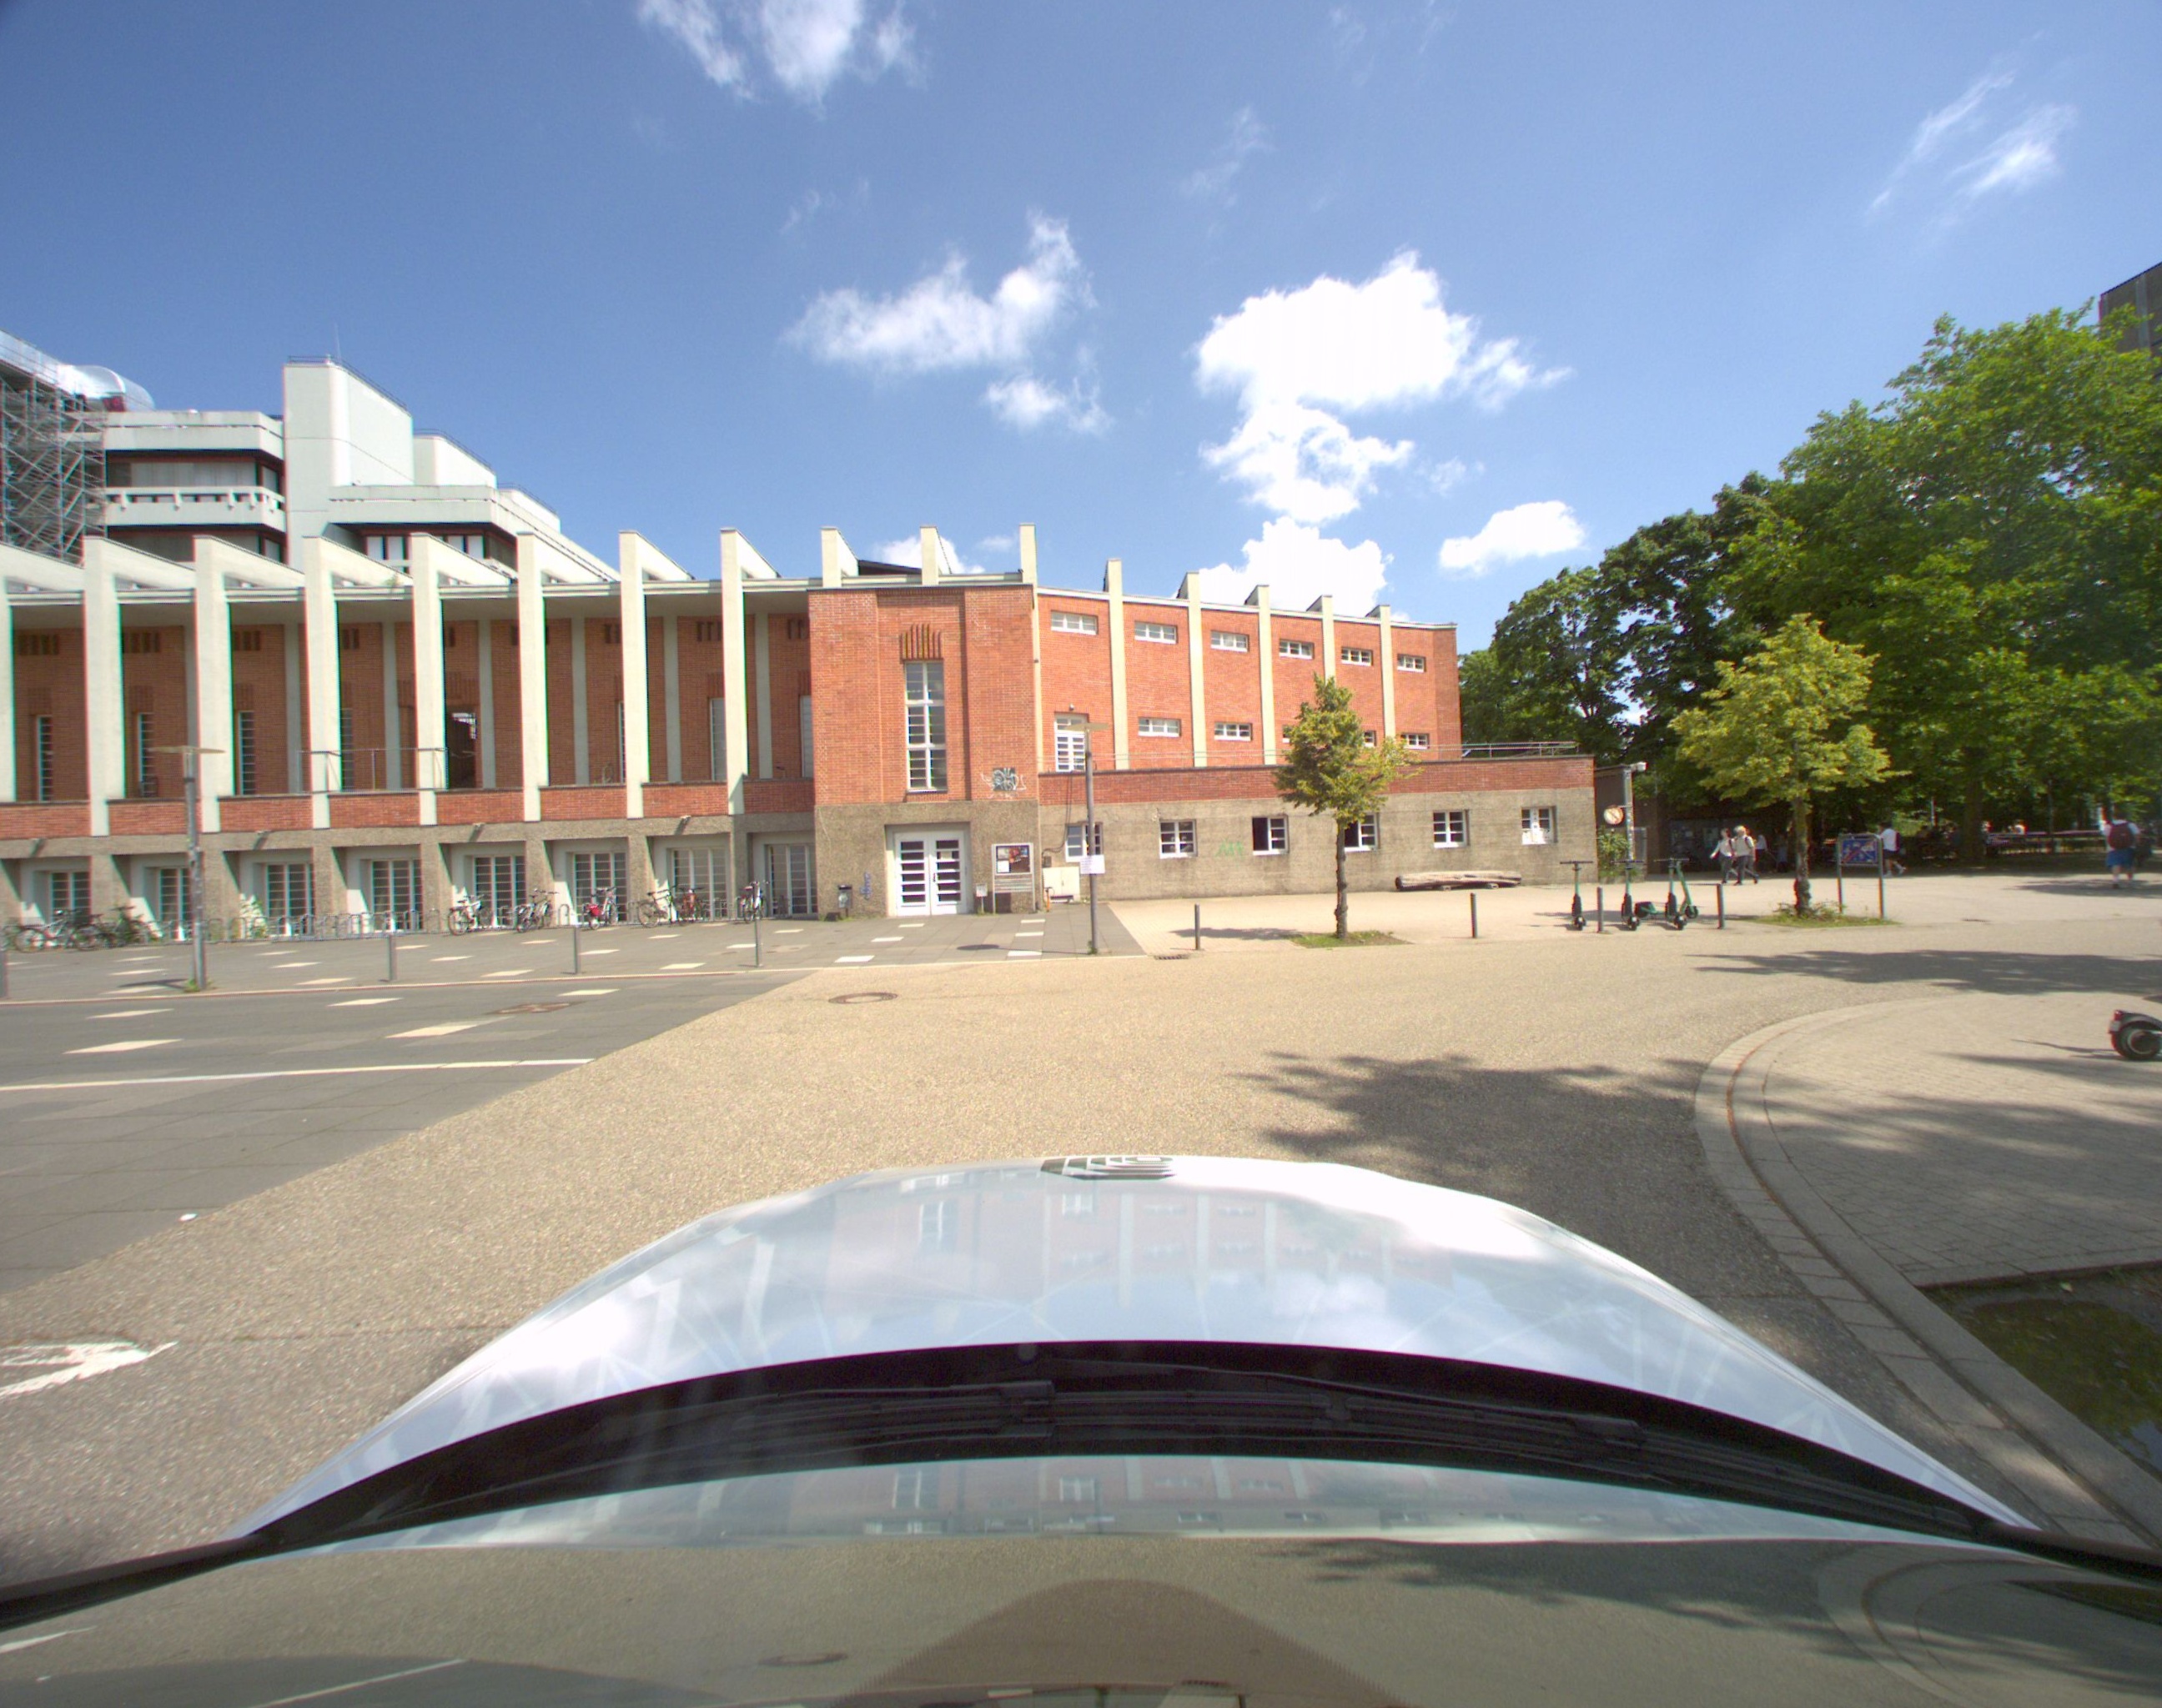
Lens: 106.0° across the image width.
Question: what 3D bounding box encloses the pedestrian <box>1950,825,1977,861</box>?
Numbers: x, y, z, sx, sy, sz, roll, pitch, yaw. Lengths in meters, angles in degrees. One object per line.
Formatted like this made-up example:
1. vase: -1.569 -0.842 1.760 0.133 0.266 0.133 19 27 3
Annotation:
1. pedestrian: 34.114 -0.425 31.471 0.746 1.369 0.588 -4 1 -36

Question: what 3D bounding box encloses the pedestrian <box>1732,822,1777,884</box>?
1. pedestrian: 19.588 -0.035 23.683 0.801 1.762 0.564 -2 0 -3

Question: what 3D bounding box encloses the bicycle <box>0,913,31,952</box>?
1. bicycle: -29.644 2.167 21.821 0.516 1.030 1.955 -2 0 -3

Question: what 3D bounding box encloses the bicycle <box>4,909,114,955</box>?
1. bicycle: -27.205 2.055 21.733 0.527 1.030 1.955 -2 0 -3

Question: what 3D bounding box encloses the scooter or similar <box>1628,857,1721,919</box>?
1. scooter or similar: 11.605 0.656 15.944 1.337 1.149 0.566 -2 0 9

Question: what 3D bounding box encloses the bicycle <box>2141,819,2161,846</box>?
1. bicycle: 46.907 -0.949 34.714 0.583 1.119 2.007 -2 -1 -11

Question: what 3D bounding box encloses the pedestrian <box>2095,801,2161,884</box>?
1. pedestrian: 24.222 -0.258 18.825 0.881 1.835 0.845 -4 1 -33

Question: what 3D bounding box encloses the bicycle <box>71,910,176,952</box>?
1. bicycle: -25.758 2.053 21.954 0.566 0.940 1.955 -2 0 -3

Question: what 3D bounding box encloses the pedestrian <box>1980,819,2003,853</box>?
1. pedestrian: 41.061 -0.810 36.711 0.473 1.522 0.505 -2 0 -13

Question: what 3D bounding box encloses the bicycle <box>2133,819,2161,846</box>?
1. bicycle: 46.127 -0.951 34.380 0.583 1.119 2.007 -2 -1 -11

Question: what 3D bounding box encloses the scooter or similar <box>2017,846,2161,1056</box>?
1. scooter or similar: 6.974 0.576 5.136 1.370 1.254 0.555 -2 0 6

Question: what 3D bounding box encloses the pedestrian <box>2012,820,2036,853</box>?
1. pedestrian: 41.317 -0.772 35.687 0.459 1.422 0.505 -2 0 -12

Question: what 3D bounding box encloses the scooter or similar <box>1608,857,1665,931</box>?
1. scooter or similar: 9.899 0.682 14.549 0.558 1.225 1.584 -2 0 25

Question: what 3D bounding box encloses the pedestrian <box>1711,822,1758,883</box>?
1. pedestrian: 19.467 -0.041 24.268 0.912 1.779 0.577 -2 0 -3

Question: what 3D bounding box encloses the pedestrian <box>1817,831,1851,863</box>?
1. pedestrian: 32.038 -0.273 34.662 0.773 1.323 0.689 -2 -1 -1

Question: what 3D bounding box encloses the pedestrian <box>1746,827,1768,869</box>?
1. pedestrian: 26.145 -0.245 31.495 0.415 1.593 0.598 -4 2 -44

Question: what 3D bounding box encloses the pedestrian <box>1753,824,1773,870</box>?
1. pedestrian: 25.945 -0.272 30.985 0.524 1.710 0.451 -1 2 44

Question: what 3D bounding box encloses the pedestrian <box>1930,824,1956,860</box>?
1. pedestrian: 34.040 -0.459 32.165 0.707 1.369 0.588 -4 1 -36

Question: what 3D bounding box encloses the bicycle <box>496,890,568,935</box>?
1. bicycle: -14.972 1.575 22.275 0.659 1.061 2.026 -2 0 -3

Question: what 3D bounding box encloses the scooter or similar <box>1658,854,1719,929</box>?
1. scooter or similar: 10.682 0.631 14.366 0.518 1.225 1.584 -2 0 25

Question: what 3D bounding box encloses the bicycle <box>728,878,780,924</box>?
1. bicycle: -8.992 1.265 22.462 0.663 1.125 2.026 -2 0 -3

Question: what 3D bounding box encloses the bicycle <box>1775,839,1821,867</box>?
1. bicycle: 28.372 -0.018 32.216 1.333 1.077 0.419 -1 -1 44

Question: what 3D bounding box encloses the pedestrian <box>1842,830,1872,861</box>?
1. pedestrian: 32.065 -0.346 33.663 0.689 1.271 0.561 -2 0 -2

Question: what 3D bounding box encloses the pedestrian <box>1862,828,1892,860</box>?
1. pedestrian: 33.028 -0.417 33.794 0.689 1.271 0.561 -2 0 -2

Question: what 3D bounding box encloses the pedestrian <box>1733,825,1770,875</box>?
1. pedestrian: 23.185 -0.133 28.154 0.869 1.720 0.492 -1 -1 26

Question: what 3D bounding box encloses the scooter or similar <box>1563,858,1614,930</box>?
1. scooter or similar: 9.223 0.700 14.843 0.563 1.225 1.584 -2 0 25

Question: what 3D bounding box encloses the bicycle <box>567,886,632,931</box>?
1. bicycle: -13.158 1.477 22.334 0.618 1.082 2.014 -2 0 -3

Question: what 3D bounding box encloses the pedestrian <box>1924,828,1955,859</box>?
1. pedestrian: 36.113 -0.451 34.269 0.766 1.250 0.568 -2 0 -14

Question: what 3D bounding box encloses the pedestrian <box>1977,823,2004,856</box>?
1. pedestrian: 35.214 -0.548 31.535 0.746 1.233 0.588 -4 1 -36

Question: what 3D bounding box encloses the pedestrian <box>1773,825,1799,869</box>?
1. pedestrian: 26.900 -0.269 31.075 0.506 1.650 0.670 -4 2 -41

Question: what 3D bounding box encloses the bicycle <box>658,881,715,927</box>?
1. bicycle: -10.833 1.348 22.439 0.589 1.125 2.027 -2 0 -1

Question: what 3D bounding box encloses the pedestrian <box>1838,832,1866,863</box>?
1. pedestrian: 33.028 -0.272 34.881 0.555 1.323 0.647 -2 -1 -1

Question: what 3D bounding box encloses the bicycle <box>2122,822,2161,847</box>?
1. bicycle: 45.206 -0.840 34.034 0.583 1.008 2.007 -2 -1 -11

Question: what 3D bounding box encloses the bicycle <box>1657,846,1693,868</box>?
1. bicycle: 24.416 0.132 33.475 1.224 0.883 0.305 -2 0 -1

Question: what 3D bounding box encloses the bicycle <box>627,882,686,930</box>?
1. bicycle: -11.649 1.406 22.426 0.435 1.125 2.029 -2 1 2

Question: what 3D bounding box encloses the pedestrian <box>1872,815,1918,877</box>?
1. pedestrian: 24.433 -0.232 24.458 0.869 1.820 0.452 -1 -1 26

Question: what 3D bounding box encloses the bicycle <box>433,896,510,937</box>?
1. bicycle: -16.709 1.700 22.383 0.681 0.960 1.955 -2 0 -3
